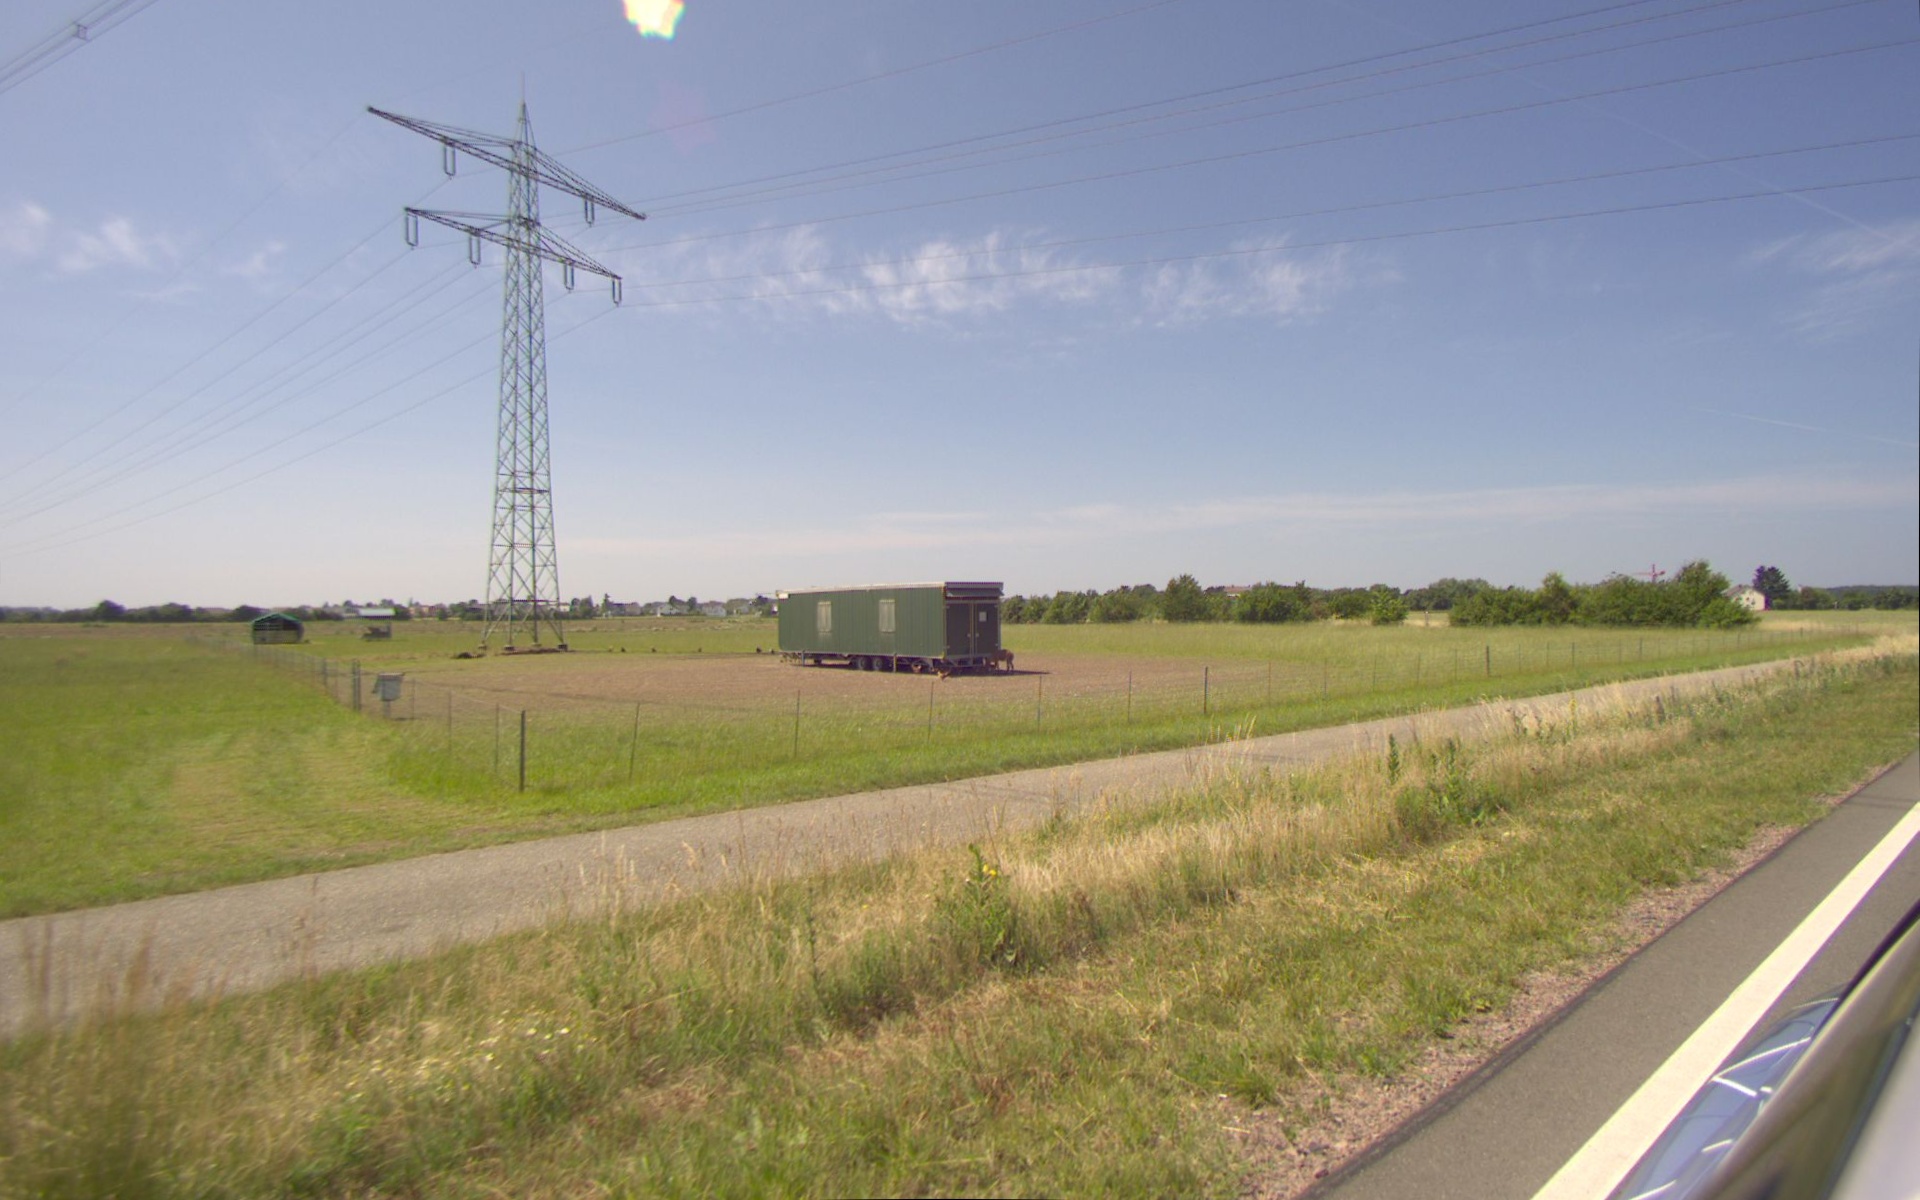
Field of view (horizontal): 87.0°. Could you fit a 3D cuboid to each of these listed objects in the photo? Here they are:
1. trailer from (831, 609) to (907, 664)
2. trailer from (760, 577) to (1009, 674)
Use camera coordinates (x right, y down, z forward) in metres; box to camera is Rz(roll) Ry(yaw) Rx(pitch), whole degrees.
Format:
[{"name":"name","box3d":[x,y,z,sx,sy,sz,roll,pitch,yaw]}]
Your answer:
[{"name":"trailer","box3d":[-4.331,1.681,47.846,2.002,2.494,3.413,0,-1,-40]},{"name":"trailer","box3d":[-3.695,0.998,42.796,3.218,3.519,13.532,0,-1,-40]}]
